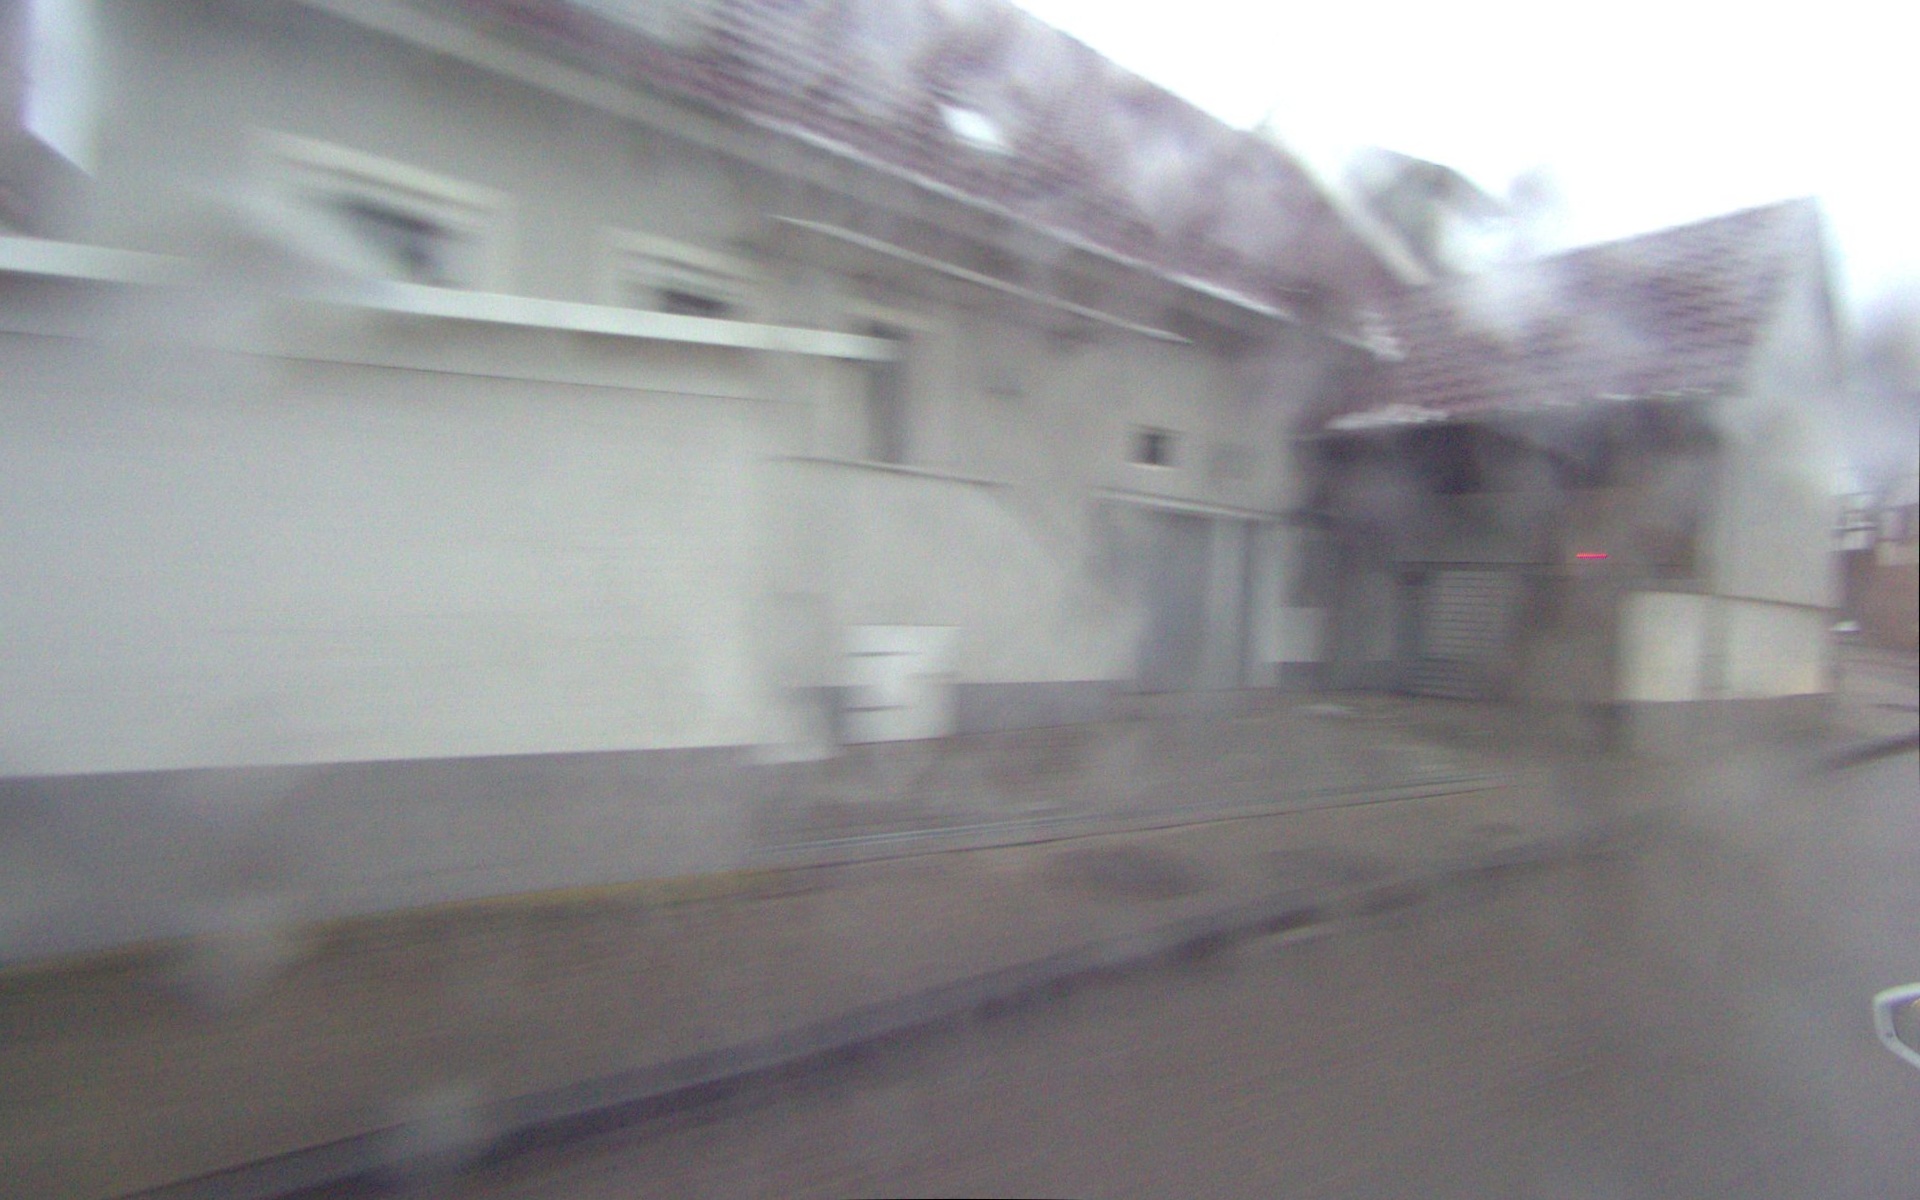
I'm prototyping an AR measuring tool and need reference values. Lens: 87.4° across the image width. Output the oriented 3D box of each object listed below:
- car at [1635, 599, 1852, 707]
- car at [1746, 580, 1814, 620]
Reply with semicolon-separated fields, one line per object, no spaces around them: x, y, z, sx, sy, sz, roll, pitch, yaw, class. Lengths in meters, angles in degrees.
12.384;0.807;15.821;3.766;1.440;1.608;2;2;-35;car
37.688;-0.012;46.247;1.568;1.536;3.978;0;4;27;car
